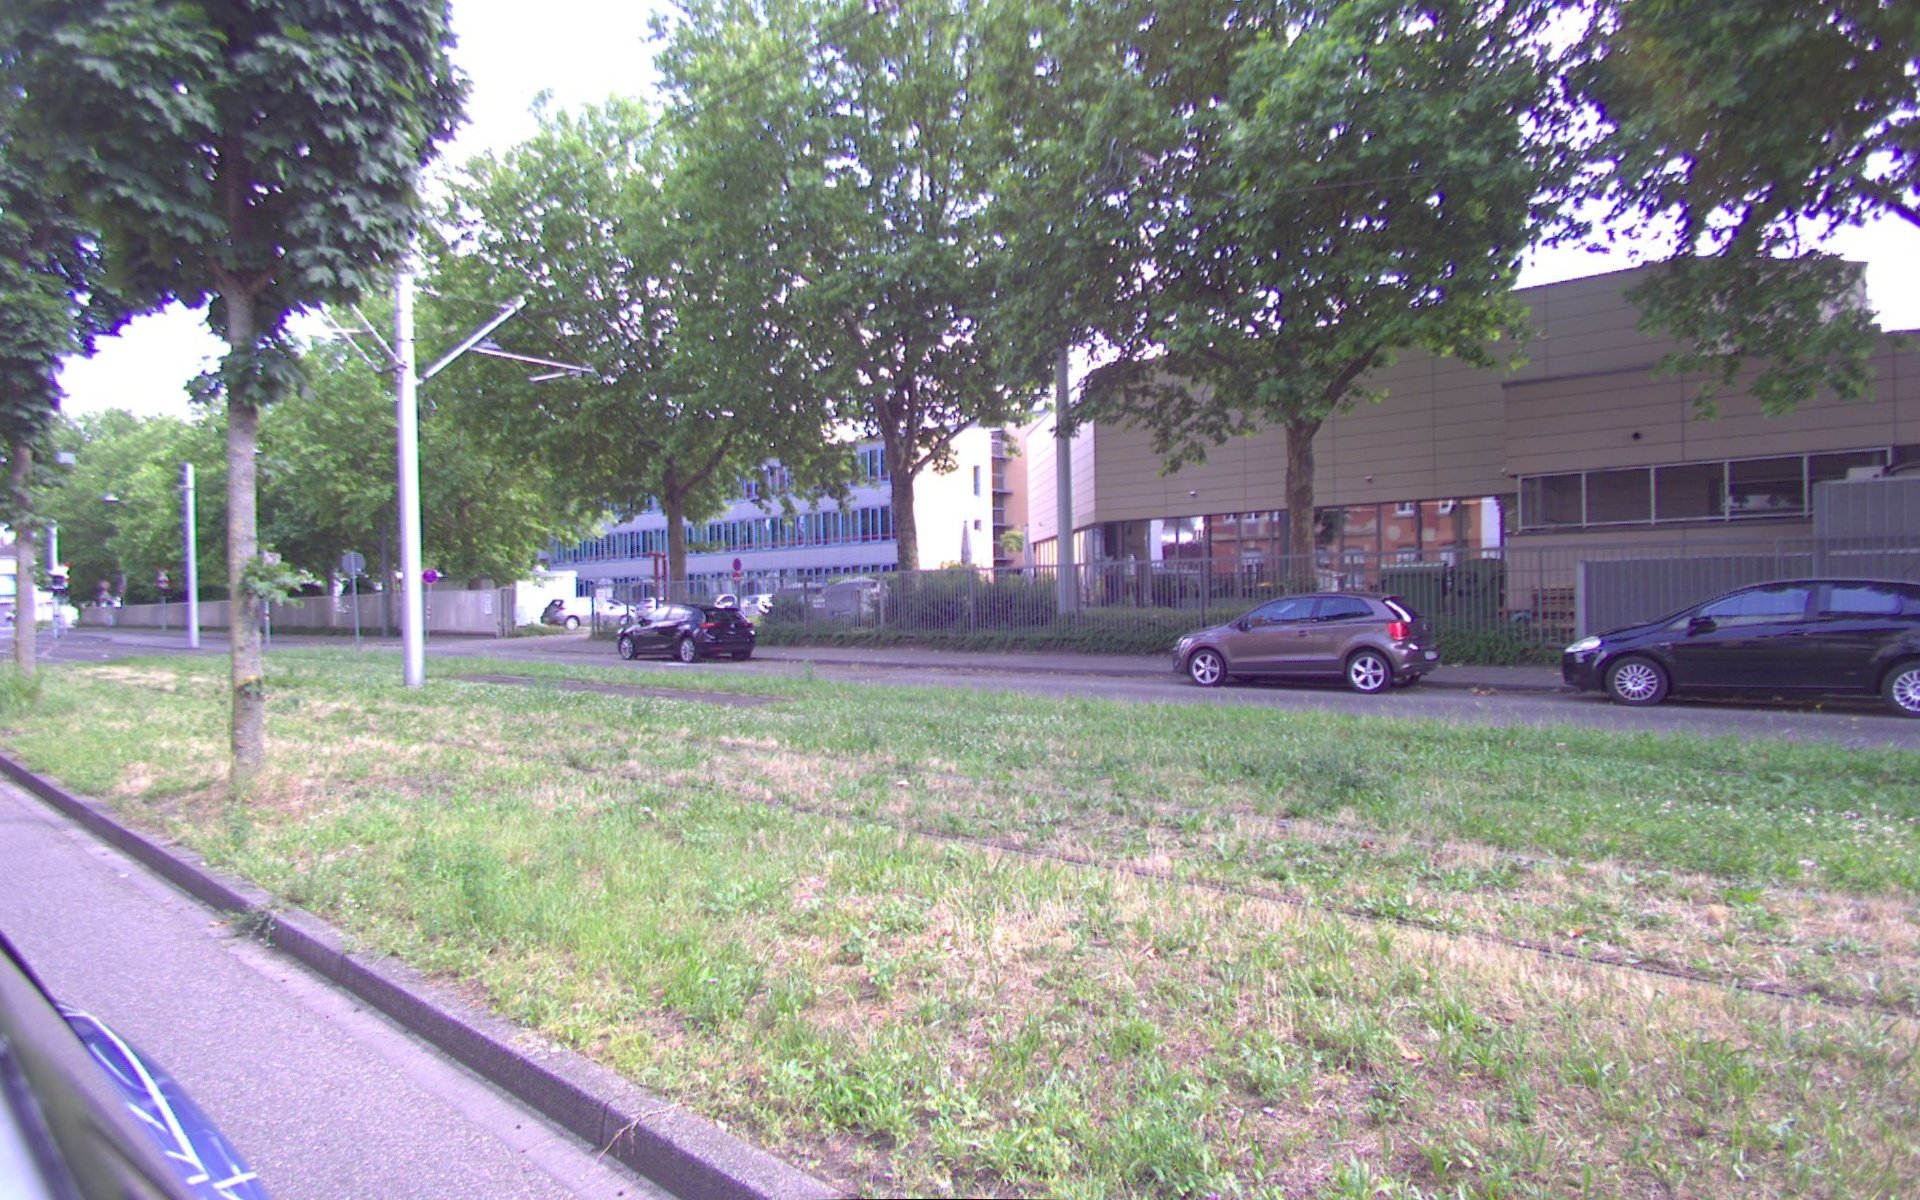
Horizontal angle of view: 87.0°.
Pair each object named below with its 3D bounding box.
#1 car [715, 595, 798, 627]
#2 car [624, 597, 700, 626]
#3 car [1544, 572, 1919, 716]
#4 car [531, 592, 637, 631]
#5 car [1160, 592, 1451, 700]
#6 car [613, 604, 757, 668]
[{"bbox_3d":[-10.719,0.560,53.470,1.998,1.630,3.948,-1,0,38],"label":"car"},{"bbox_3d":[-17.779,0.678,60.589,1.998,1.630,3.948,-1,0,38],"label":"car"},{"bbox_3d":[9.305,0.451,11.815,4.000,1.464,1.783,-1,0,43],"label":"car"},{"bbox_3d":[-16.675,0.491,45.025,1.998,1.630,3.948,-1,0,38],"label":"car"},{"bbox_3d":[5.158,0.639,15.393,3.899,1.436,1.538,-1,0,40],"label":"car"},{"bbox_3d":[-6.985,0.867,25.509,3.999,1.475,1.580,-1,0,42],"label":"car"}]
